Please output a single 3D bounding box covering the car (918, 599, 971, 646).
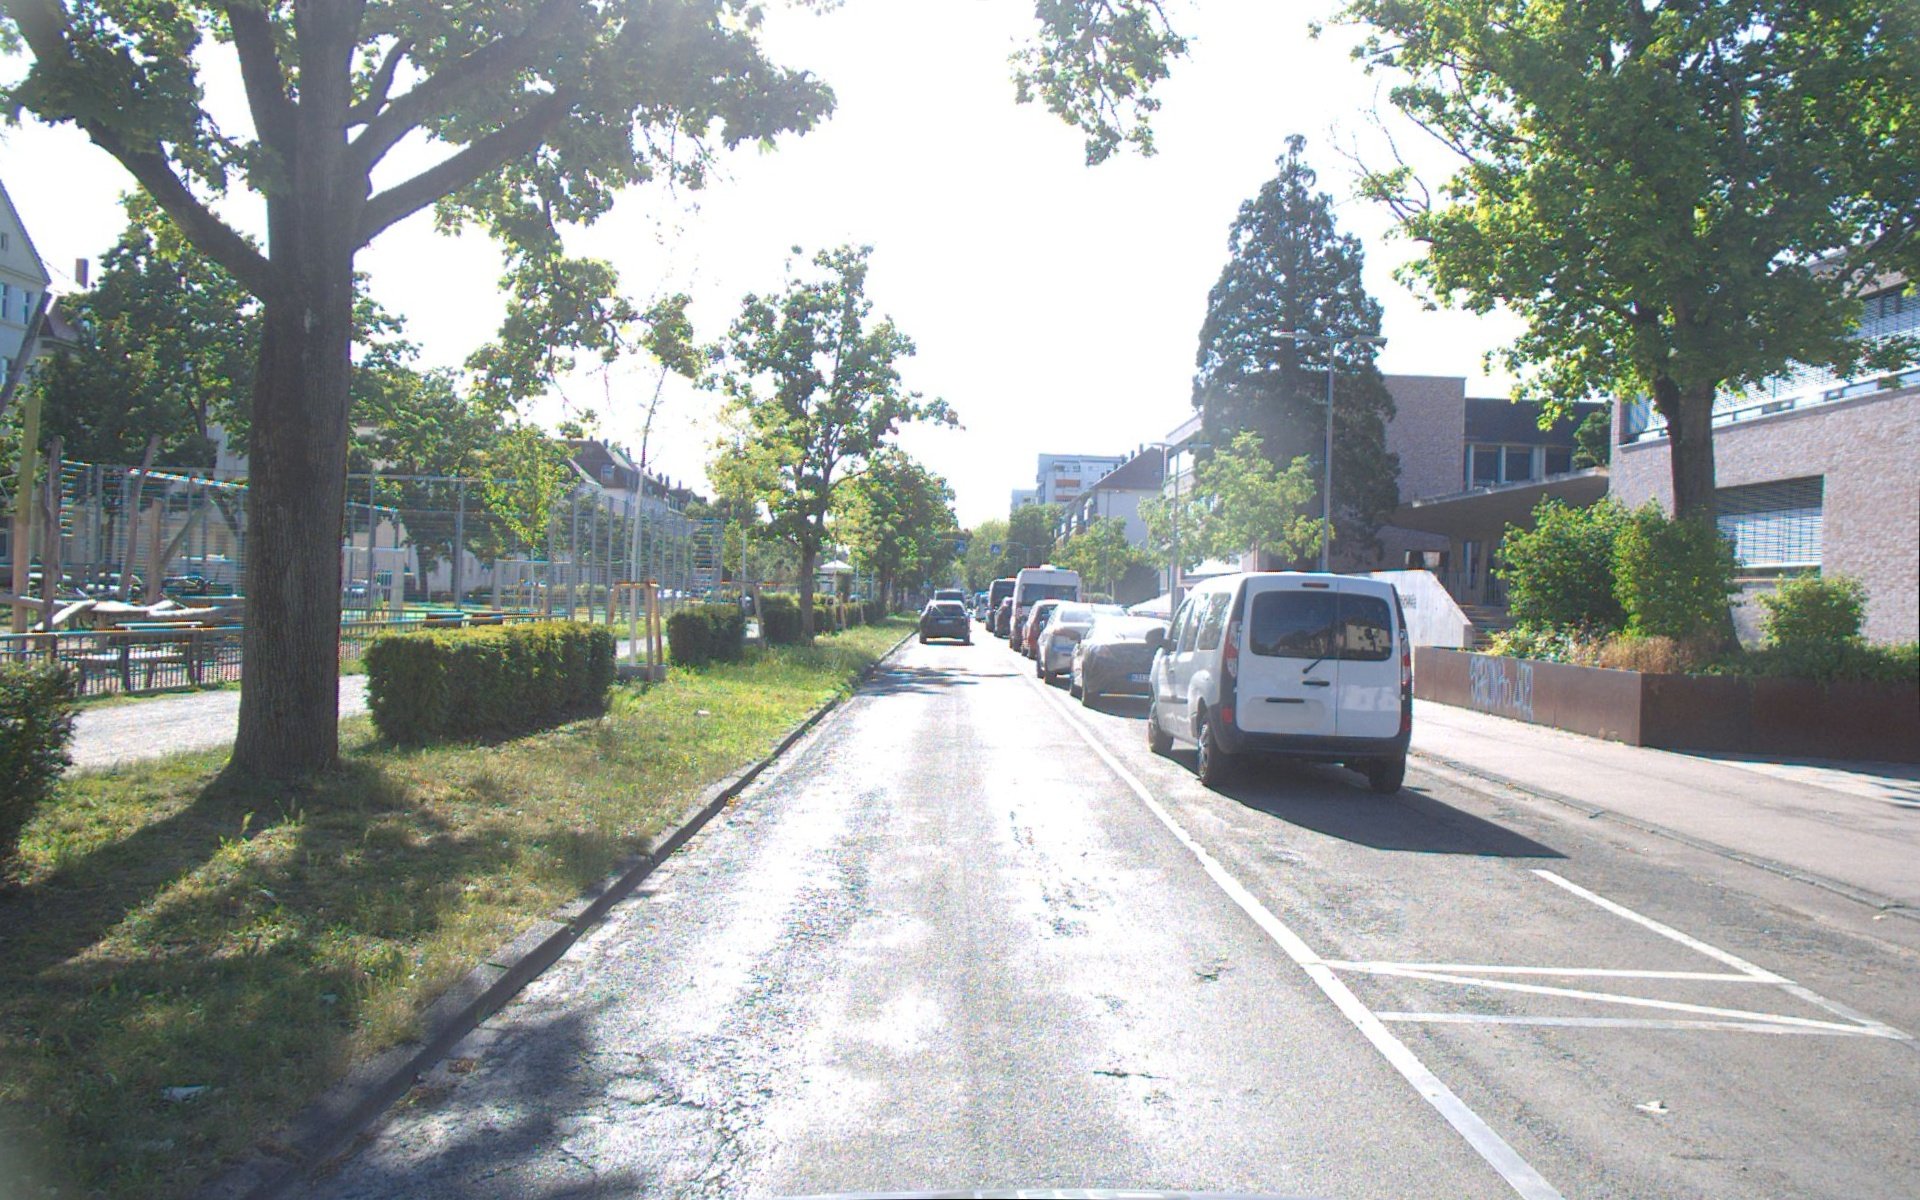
[{"bbox_3d":[-0.512,0.757,58.261,1.757,1.536,4.000,2,0,0],"label":"car"}]

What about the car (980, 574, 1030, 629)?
[{"bbox_3d":[2.195,0.047,82.082,2.072,2.559,6.530,1,0,-2],"label":"car"}]

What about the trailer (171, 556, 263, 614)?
[{"bbox_3d":[-39.484,-0.800,88.064,2.295,2.920,5.801,2,0,-1],"label":"trailer"}]

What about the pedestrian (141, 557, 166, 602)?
[{"bbox_3d":[-30.318,-0.762,62.181,0.635,1.690,0.650,1,0,0],"label":"pedestrian"}]

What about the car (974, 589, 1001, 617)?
[{"bbox_3d":[1.939,0.206,115.712,1.757,1.887,4.414,2,0,2],"label":"car"}]

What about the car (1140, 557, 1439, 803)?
[{"bbox_3d":[2.934,0.641,15.742,1.771,1.941,4.460,2,0,-2],"label":"car"}]

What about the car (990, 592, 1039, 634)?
[{"bbox_3d":[2.286,0.532,69.972,1.808,1.669,4.503,1,0,-1],"label":"car"}]

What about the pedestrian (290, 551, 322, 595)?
[{"bbox_3d":[-20.224,-0.830,51.142,0.636,1.341,0.649,2,0,29],"label":"pedestrian"}]

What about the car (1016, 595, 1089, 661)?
[{"bbox_3d":[2.467,0.722,44.650,1.587,1.616,3.590,2,0,-2],"label":"car"}]

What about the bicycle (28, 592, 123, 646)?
[{"bbox_3d":[-19.357,0.418,36.214,1.758,1.127,0.500,2,0,-2],"label":"bicycle"}]

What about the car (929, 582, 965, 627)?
[{"bbox_3d":[-0.631,0.192,83.358,1.757,2.159,4.000,2,0,0],"label":"car"}]

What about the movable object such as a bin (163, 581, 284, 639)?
[{"bbox_3d":[-16.737,0.215,37.637,2.284,1.263,1.055,1,0,-5],"label":"movable object such as a bin"}]

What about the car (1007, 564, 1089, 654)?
[{"bbox_3d":[2.722,0.253,52.415,2.195,2.619,5.432,2,0,0],"label":"car"}]

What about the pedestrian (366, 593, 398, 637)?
[{"bbox_3d":[-18.206,0.476,52.094,0.636,1.341,0.649,2,0,29],"label":"pedestrian"}]

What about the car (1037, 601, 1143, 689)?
[{"bbox_3d":[2.441,0.823,31.996,1.667,1.504,4.173,2,0,0],"label":"car"}]

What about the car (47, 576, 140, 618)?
[{"bbox_3d":[-38.979,-0.145,74.522,1.757,1.808,4.488,2,0,0],"label":"car"}]

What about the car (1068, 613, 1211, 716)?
[{"bbox_3d":[2.682,0.938,25.545,1.667,1.348,4.129,2,0,-1],"label":"car"}]
